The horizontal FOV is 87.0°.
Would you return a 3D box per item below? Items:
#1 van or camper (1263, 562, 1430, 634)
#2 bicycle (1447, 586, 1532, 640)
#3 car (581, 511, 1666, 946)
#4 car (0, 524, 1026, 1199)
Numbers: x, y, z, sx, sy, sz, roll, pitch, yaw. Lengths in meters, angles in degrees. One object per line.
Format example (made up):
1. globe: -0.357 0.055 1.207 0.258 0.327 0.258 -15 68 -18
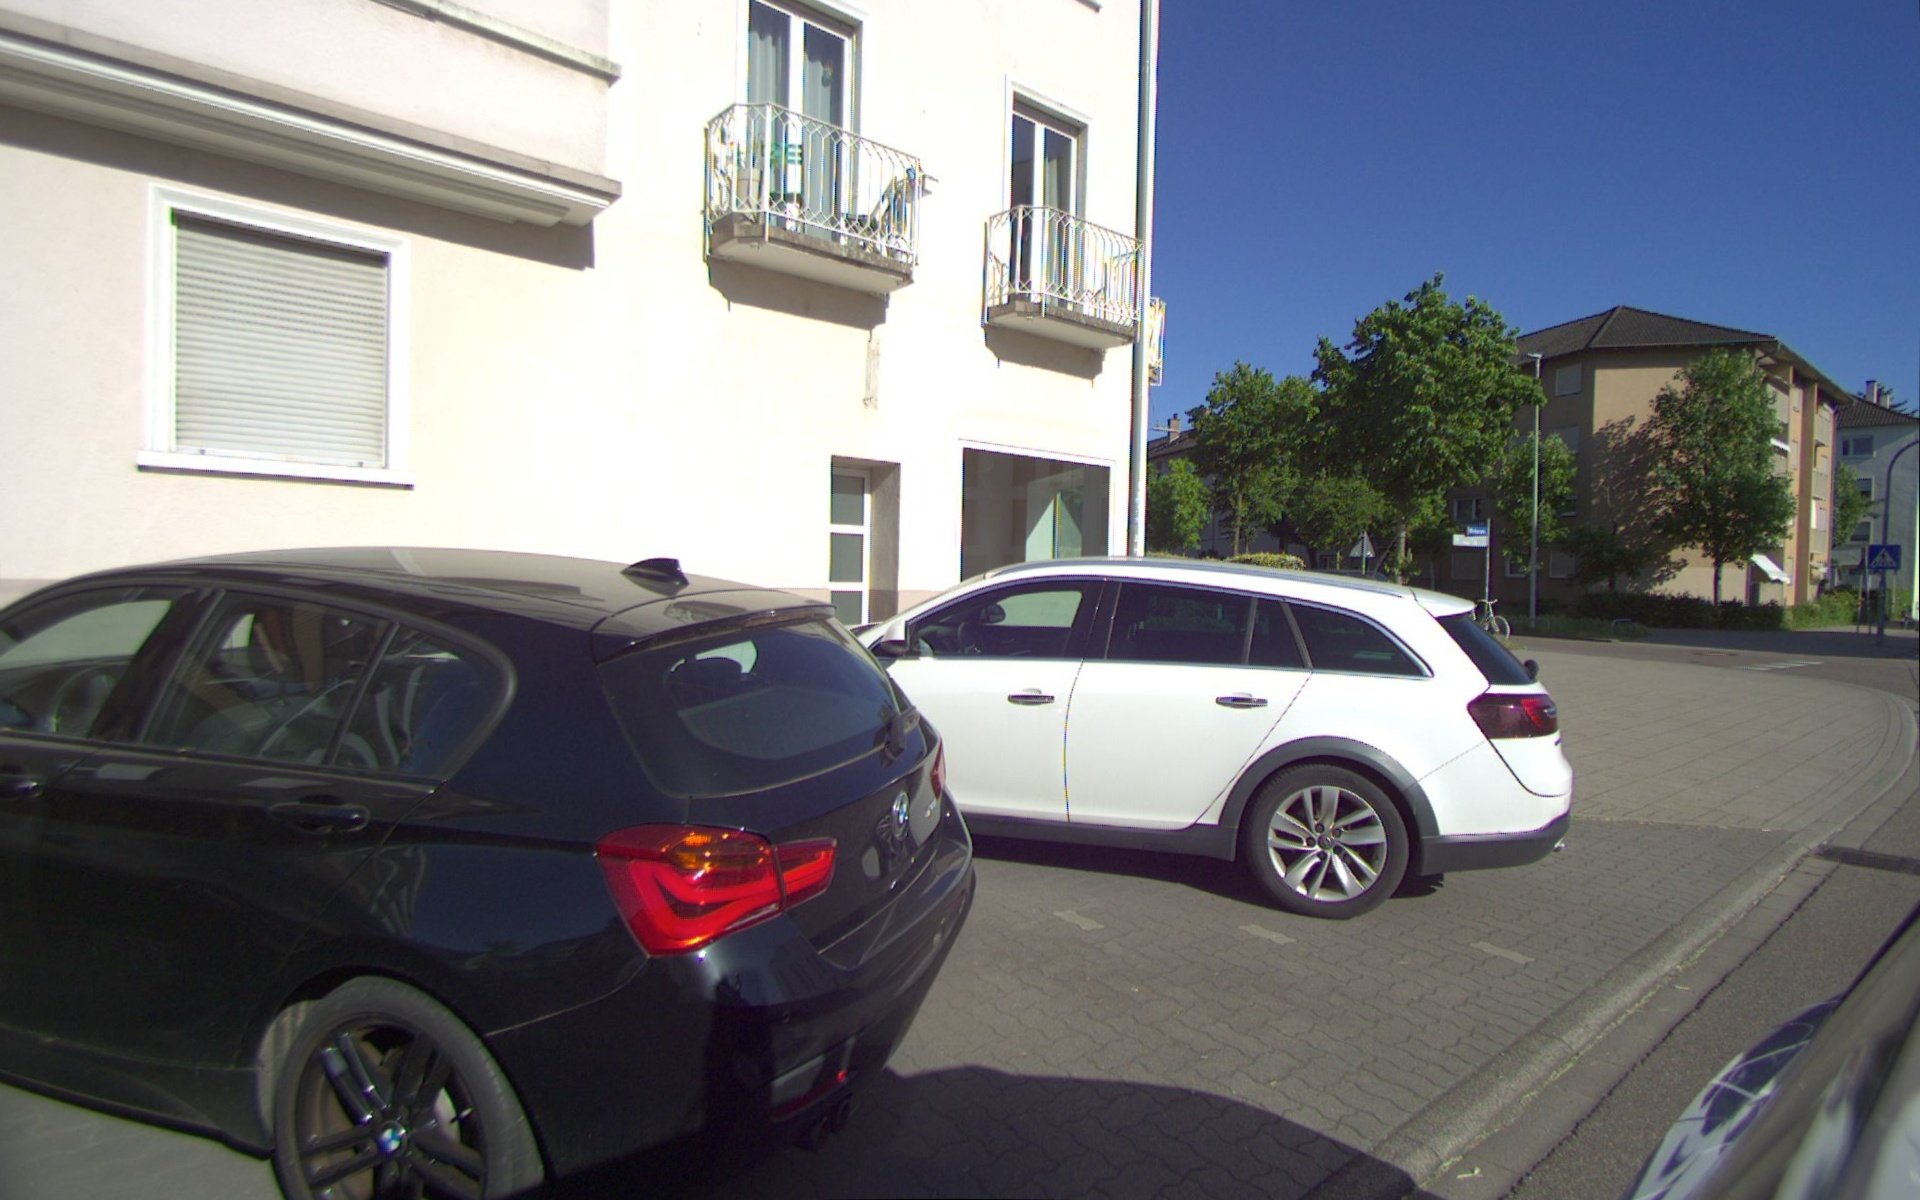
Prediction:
1. van or camper: 11.504 -0.154 30.622 1.954 1.885 5.400 -1 3 -14
2. bicycle: 12.881 0.287 24.687 0.518 1.208 2.035 0 2 -18
3. car: 0.629 0.428 5.535 4.805 1.482 1.964 4 2 15
4. car: -1.995 0.542 3.133 4.114 1.515 1.815 1 3 17
